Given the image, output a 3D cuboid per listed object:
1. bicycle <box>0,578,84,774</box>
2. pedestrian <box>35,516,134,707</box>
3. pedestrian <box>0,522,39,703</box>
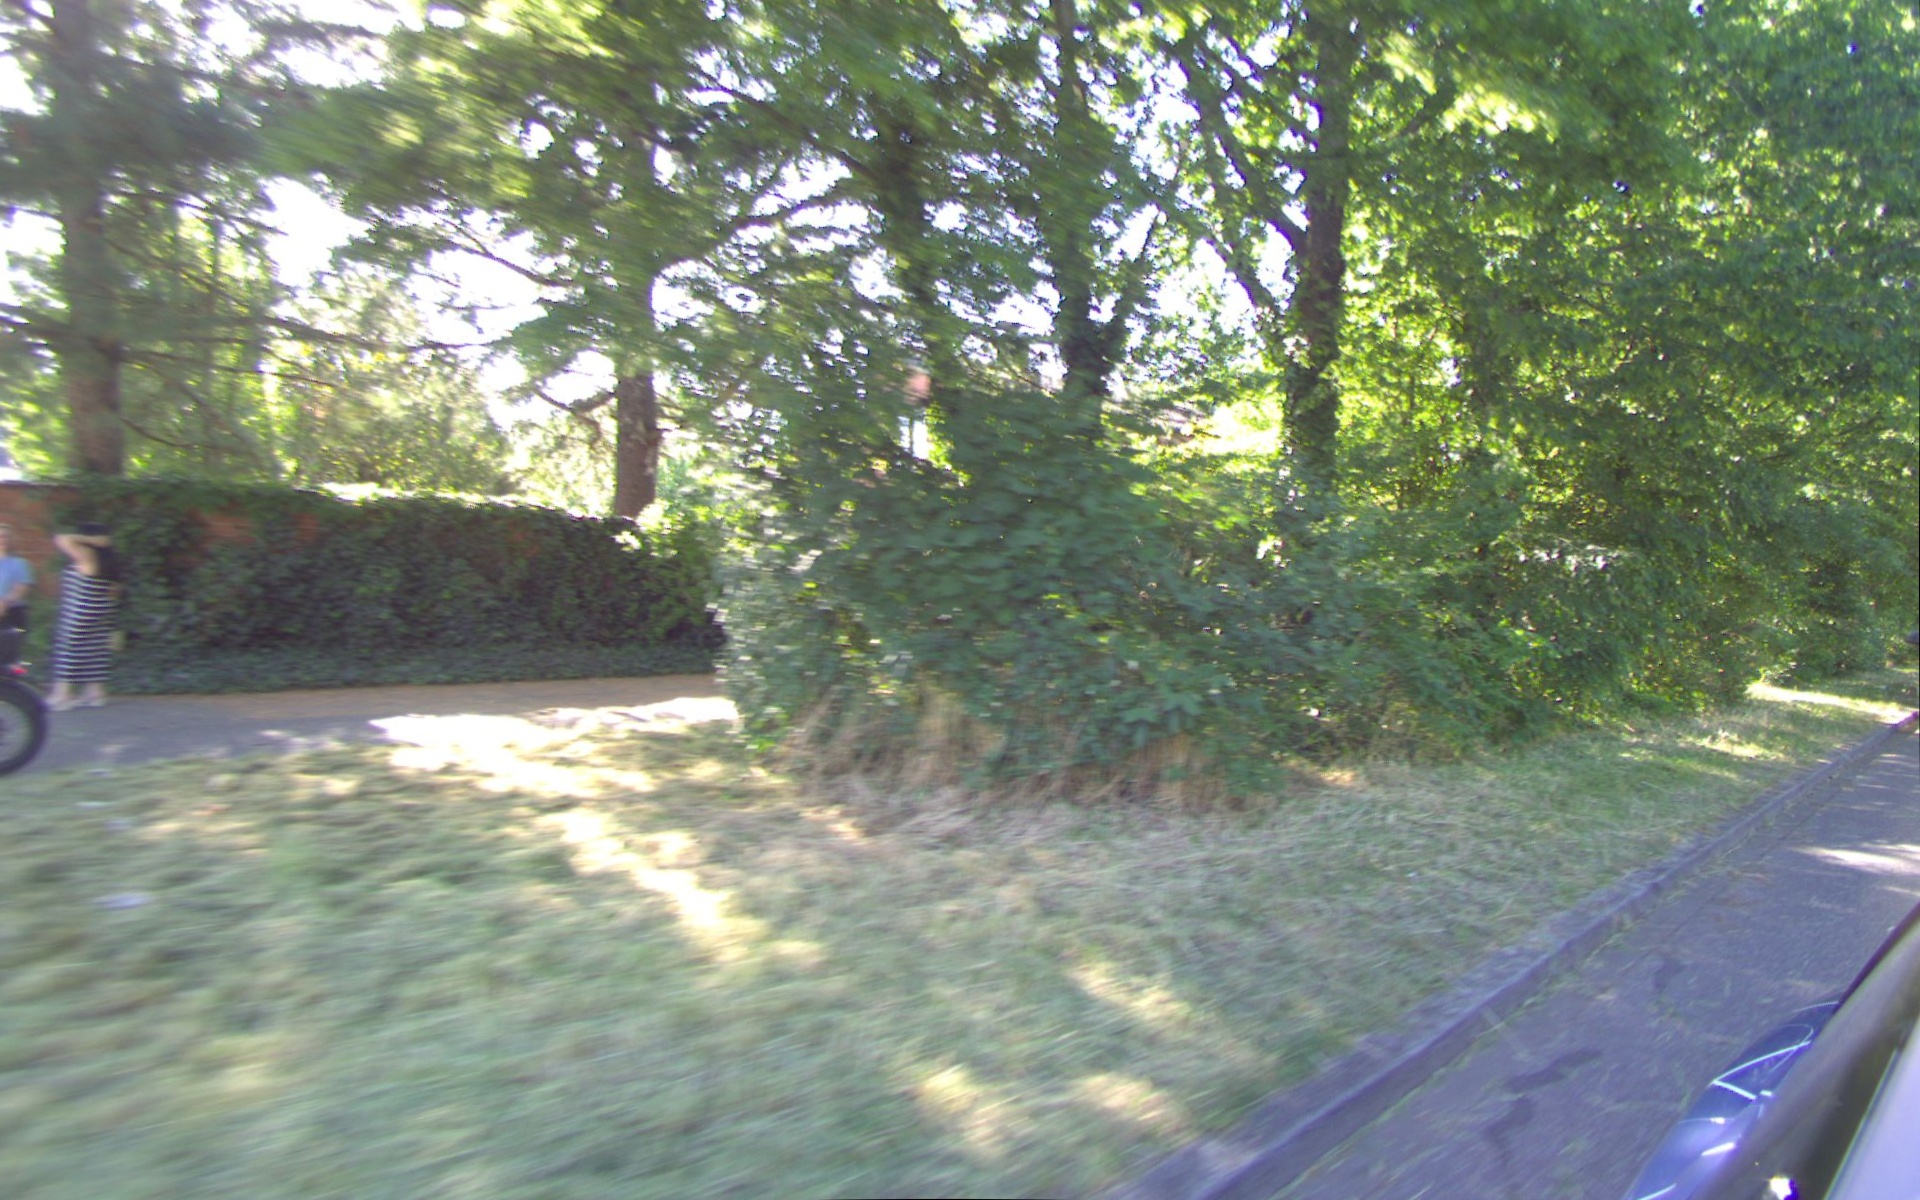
[{"bbox_3d":[-6.254,0.449,5.753,0.456,1.159,1.871,2,1,40],"label":"bicycle"},{"bbox_3d":[-7.507,0.087,8.688,0.392,1.580,0.533,2,1,27],"label":"pedestrian"},{"bbox_3d":[-8.272,0.100,8.687,0.529,1.539,0.395,0,2,-42],"label":"pedestrian"}]
